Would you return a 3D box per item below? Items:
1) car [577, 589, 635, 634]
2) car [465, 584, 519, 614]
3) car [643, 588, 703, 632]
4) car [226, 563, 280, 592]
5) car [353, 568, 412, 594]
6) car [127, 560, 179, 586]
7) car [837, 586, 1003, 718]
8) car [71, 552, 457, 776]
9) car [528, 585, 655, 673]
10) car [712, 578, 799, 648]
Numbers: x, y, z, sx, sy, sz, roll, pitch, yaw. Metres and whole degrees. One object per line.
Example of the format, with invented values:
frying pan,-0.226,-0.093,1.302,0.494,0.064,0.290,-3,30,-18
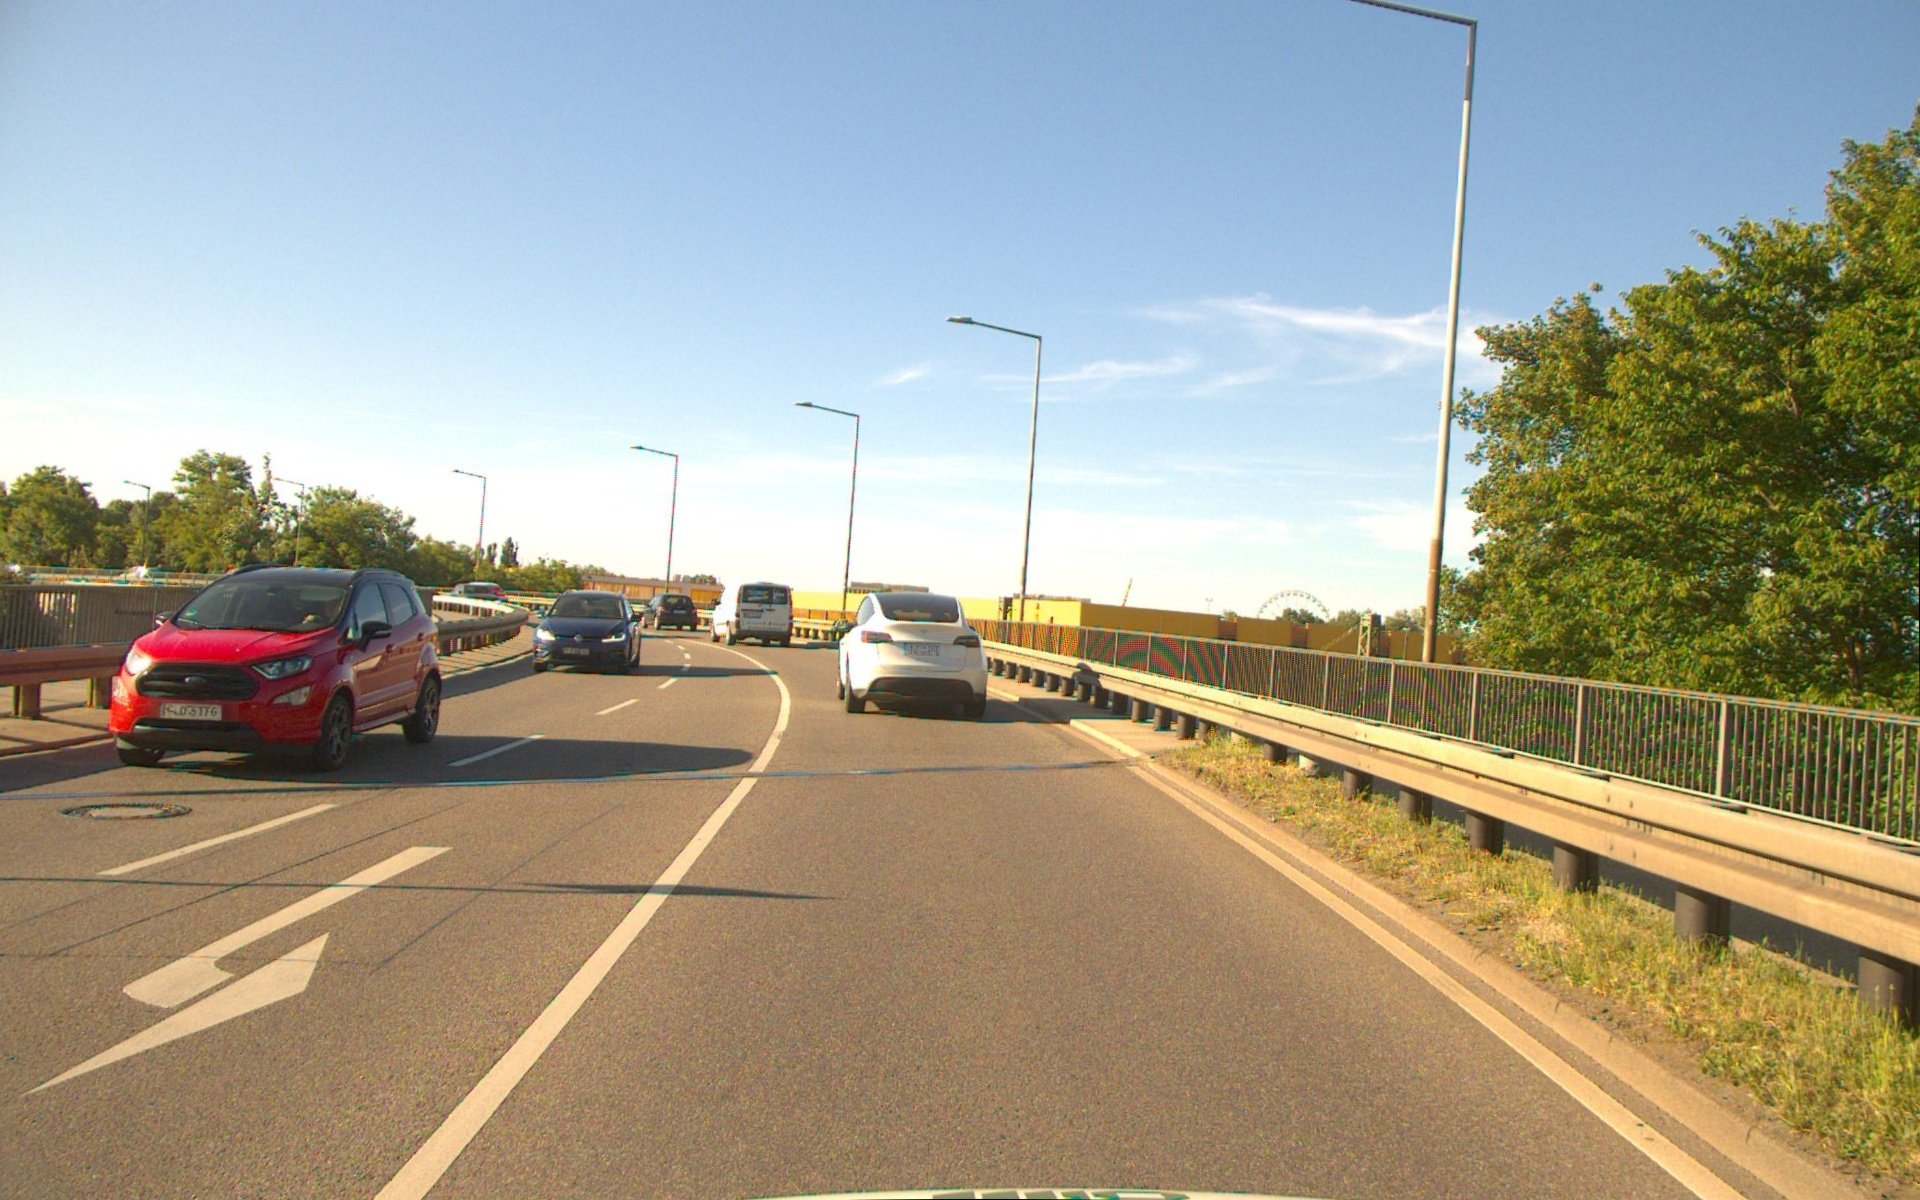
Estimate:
car,-12.304,0.382,57.343,1.752,1.462,3.859,2,0,-15
car,-27.061,-0.067,95.614,1.843,1.612,3.867,3,0,-34
car,-11.454,0.382,65.754,1.937,1.666,3.983,1,0,-16
car,-53.612,-1.703,125.394,3.920,1.984,1.955,2,0,36
car,-38.052,-1.247,108.961,3.817,1.583,1.834,2,0,37
car,-65.488,-2.187,134.209,3.913,1.984,1.959,2,0,30
car,-0.660,0.676,23.373,1.947,1.666,4.056,1,0,-7
car,-5.918,0.492,14.635,1.768,1.666,3.999,2,0,-2
car,-6.948,0.519,31.569,1.690,1.512,4.403,2,0,-4
car,-6.286,0.355,50.449,1.972,1.974,4.450,2,0,-15
